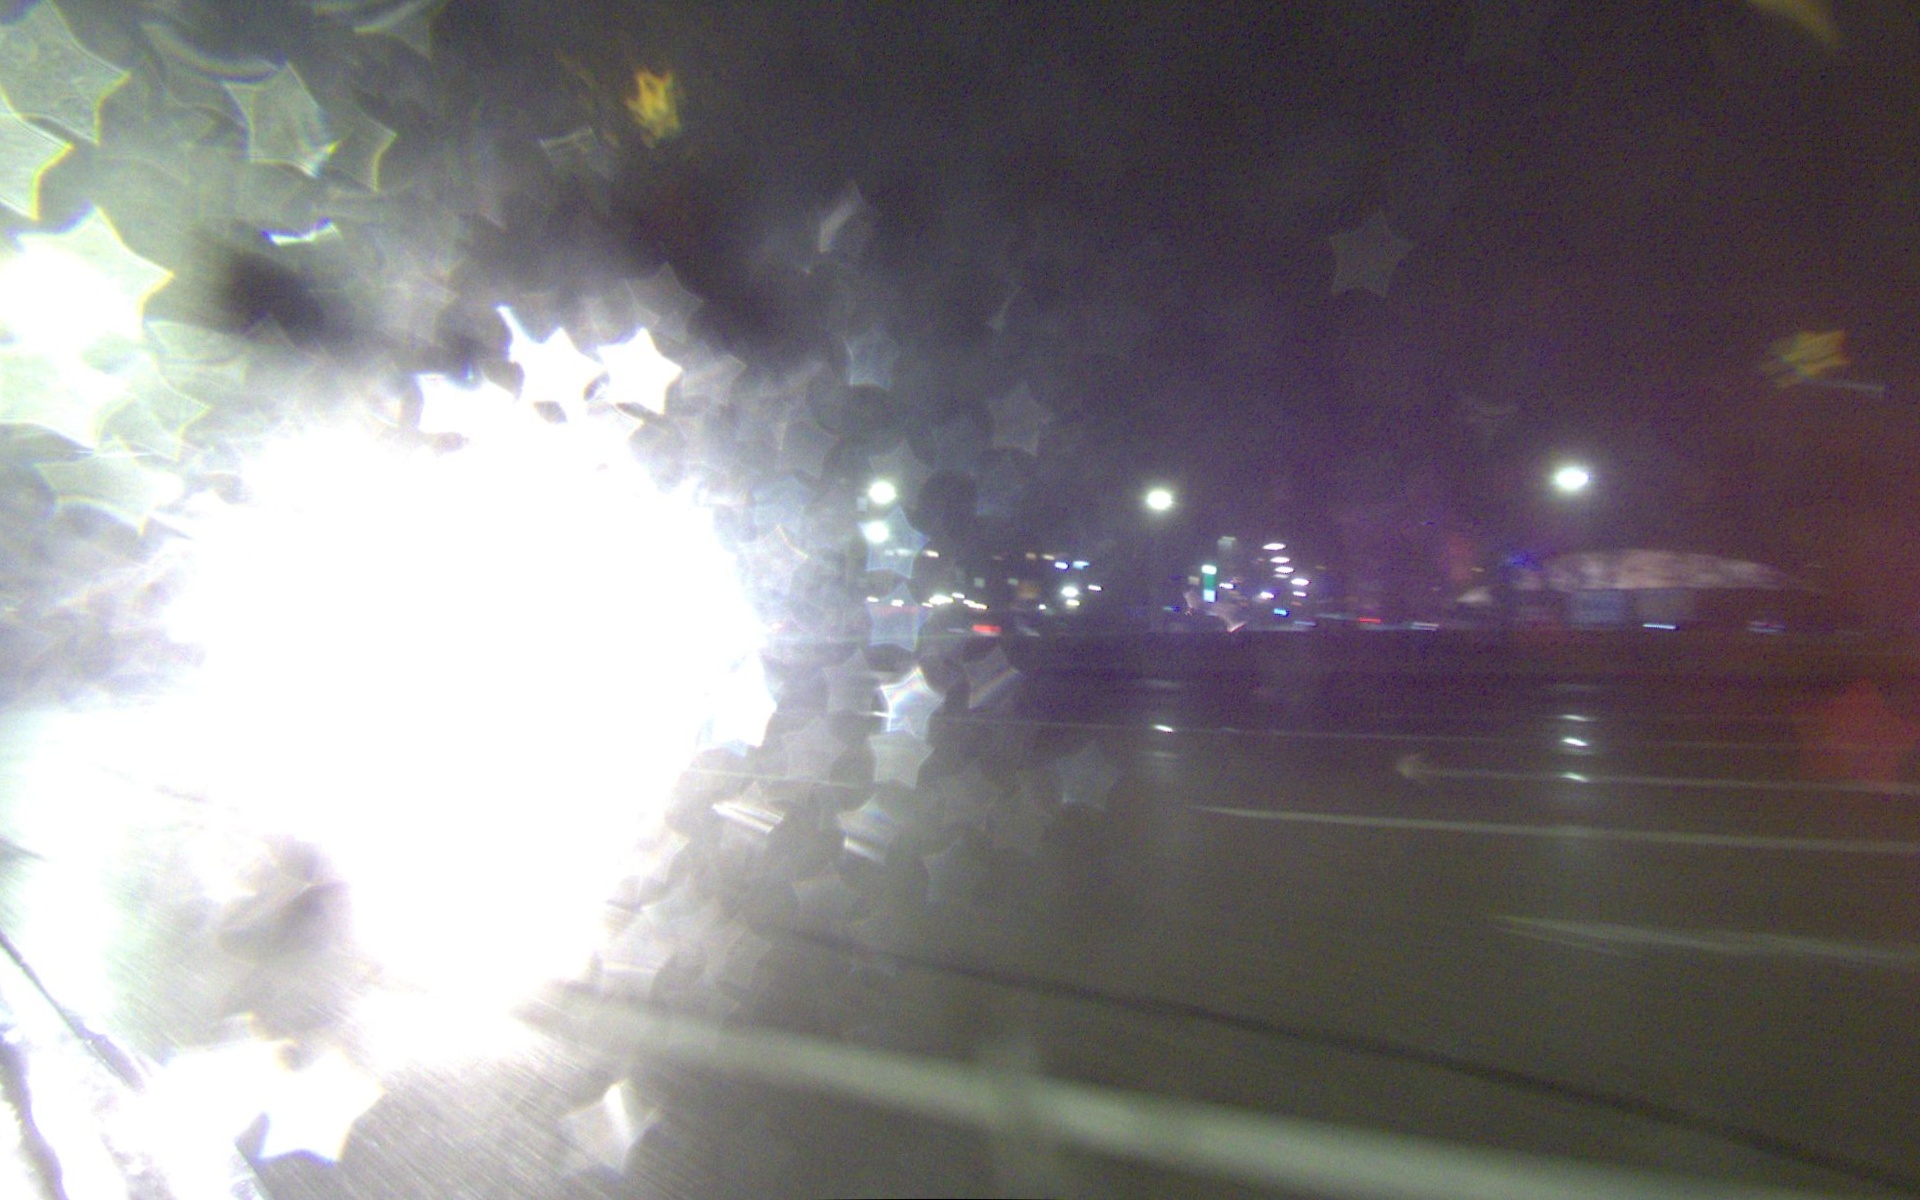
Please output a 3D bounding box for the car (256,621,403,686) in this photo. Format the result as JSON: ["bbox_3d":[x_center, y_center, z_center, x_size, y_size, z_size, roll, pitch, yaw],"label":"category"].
[{"bbox_3d":[-18.557,1.524,30.053,1.922,1.732,4.447,-2,-1,-6],"label":"car"}]

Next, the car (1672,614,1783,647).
[{"bbox_3d":[37.559,1.511,49.600,1.805,1.455,4.024,-1,-2,-41],"label":"car"}]

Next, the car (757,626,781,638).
[{"bbox_3d":[-23.082,3.883,122.190,1.798,1.383,3.960,-1,-1,-28],"label":"car"}]

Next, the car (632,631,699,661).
[{"bbox_3d":[-17.694,2.746,61.049,1.937,1.634,3.922,-3,-1,20],"label":"car"}]

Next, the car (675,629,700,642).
[{"bbox_3d":[-41.253,5.385,153.248,2.036,1.729,5.053,-1,-1,-35],"label":"car"}]

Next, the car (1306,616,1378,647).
[{"bbox_3d":[22.438,1.847,59.520,3.846,1.630,1.760,-3,-1,22],"label":"car"}]

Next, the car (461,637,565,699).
[{"bbox_3d":[-14.241,2.124,32.486,1.807,1.719,4.199,-2,-1,-6],"label":"car"}]

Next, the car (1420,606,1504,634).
[{"bbox_3d":[29.169,1.189,58.846,4.016,1.455,1.808,-3,-2,41],"label":"car"}]

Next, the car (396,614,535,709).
[{"bbox_3d":[-9.462,1.115,19.711,1.803,1.538,4.889,-2,-1,-19],"label":"car"}]

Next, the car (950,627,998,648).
[{"bbox_3d":[1.113,3.071,82.549,1.746,1.630,3.877,-1,-2,-43],"label":"car"}]

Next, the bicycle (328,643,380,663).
[{"bbox_3d":[-32.849,2.863,54.914,2.380,0.984,0.623,-1,-1,-29],"label":"bicycle"}]

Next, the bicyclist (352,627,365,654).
[{"bbox_3d":[-32.726,2.193,55.052,0.595,1.458,0.618,-1,-2,-30],"label":"bicyclist"}]
